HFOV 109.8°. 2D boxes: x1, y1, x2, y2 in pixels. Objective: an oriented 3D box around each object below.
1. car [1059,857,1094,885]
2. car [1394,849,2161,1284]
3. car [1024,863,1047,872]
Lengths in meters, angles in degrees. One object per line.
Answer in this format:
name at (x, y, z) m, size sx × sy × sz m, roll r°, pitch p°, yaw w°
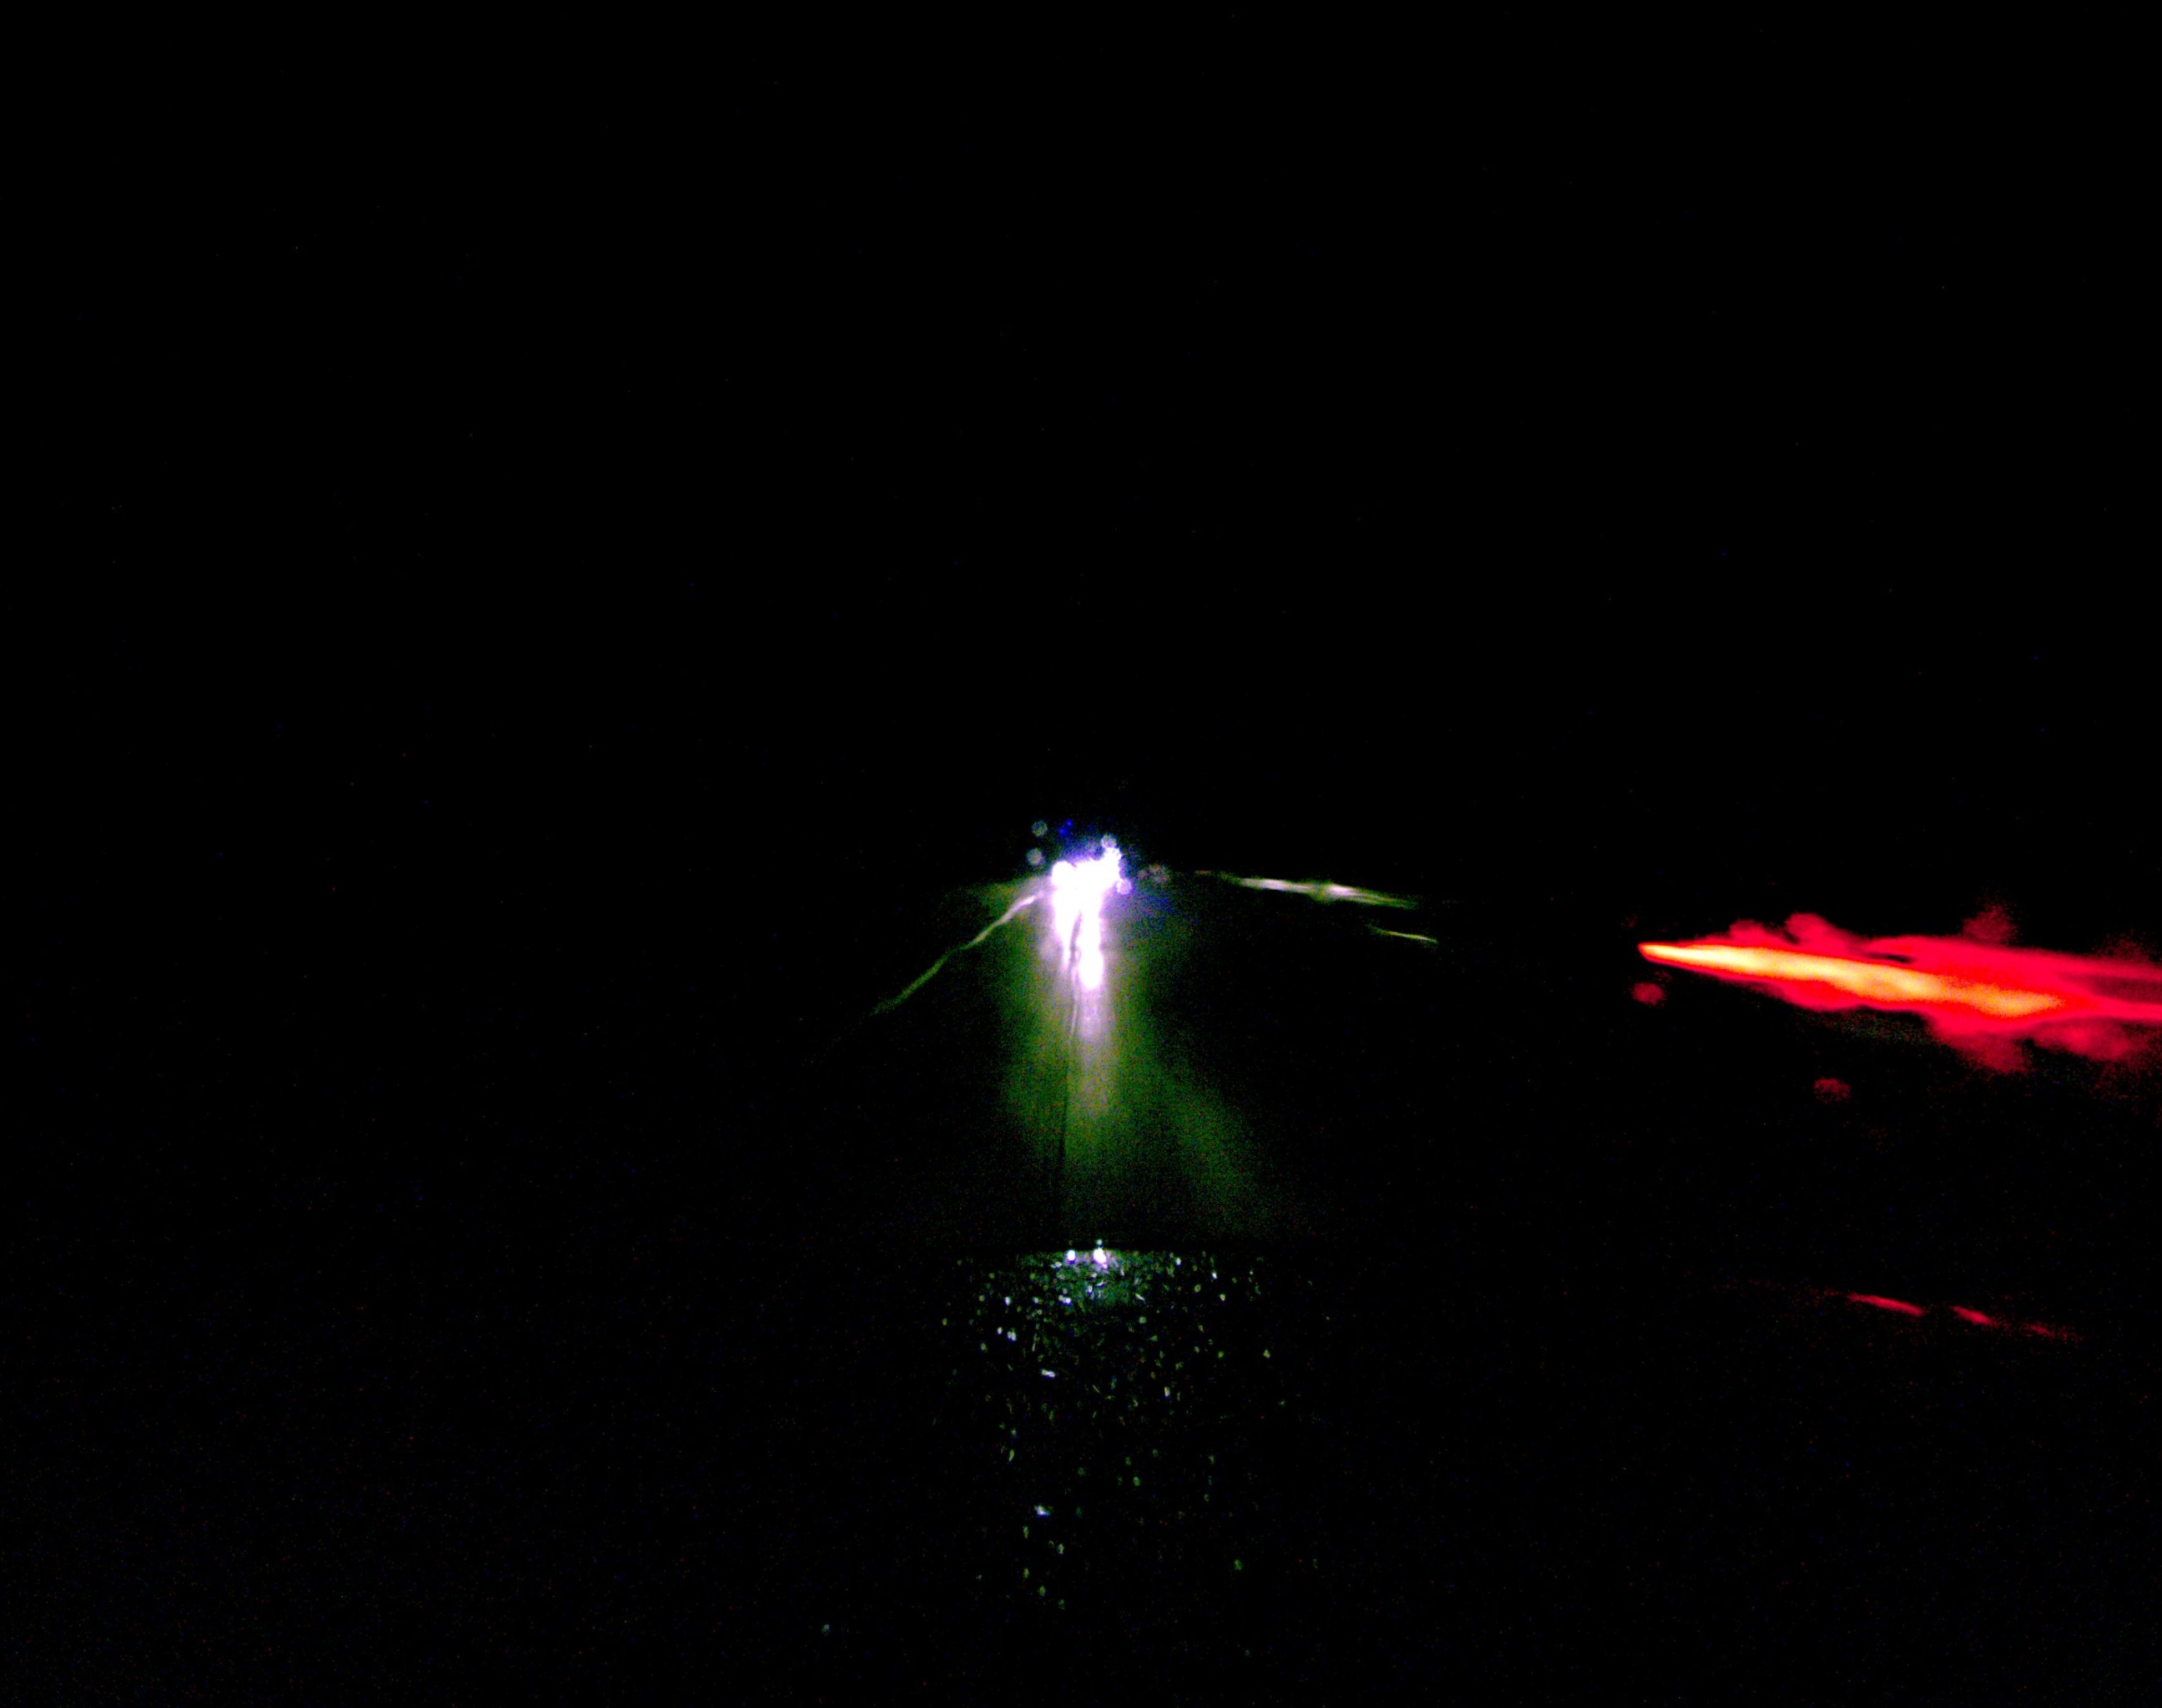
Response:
car at (-0.239, 1.001, 44.043) m, size 1.901 × 1.551 × 4.001 m, roll 1°, pitch -2°, yaw 0°
car at (3.858, 0.799, 4.996) m, size 1.804 × 1.570 × 4.457 m, roll 1°, pitch 0°, yaw 1°
car at (-10.274, 3.082, 170.702) m, size 4.952 × 1.827 × 1.932 m, roll 3°, pitch -2°, yaw -13°
